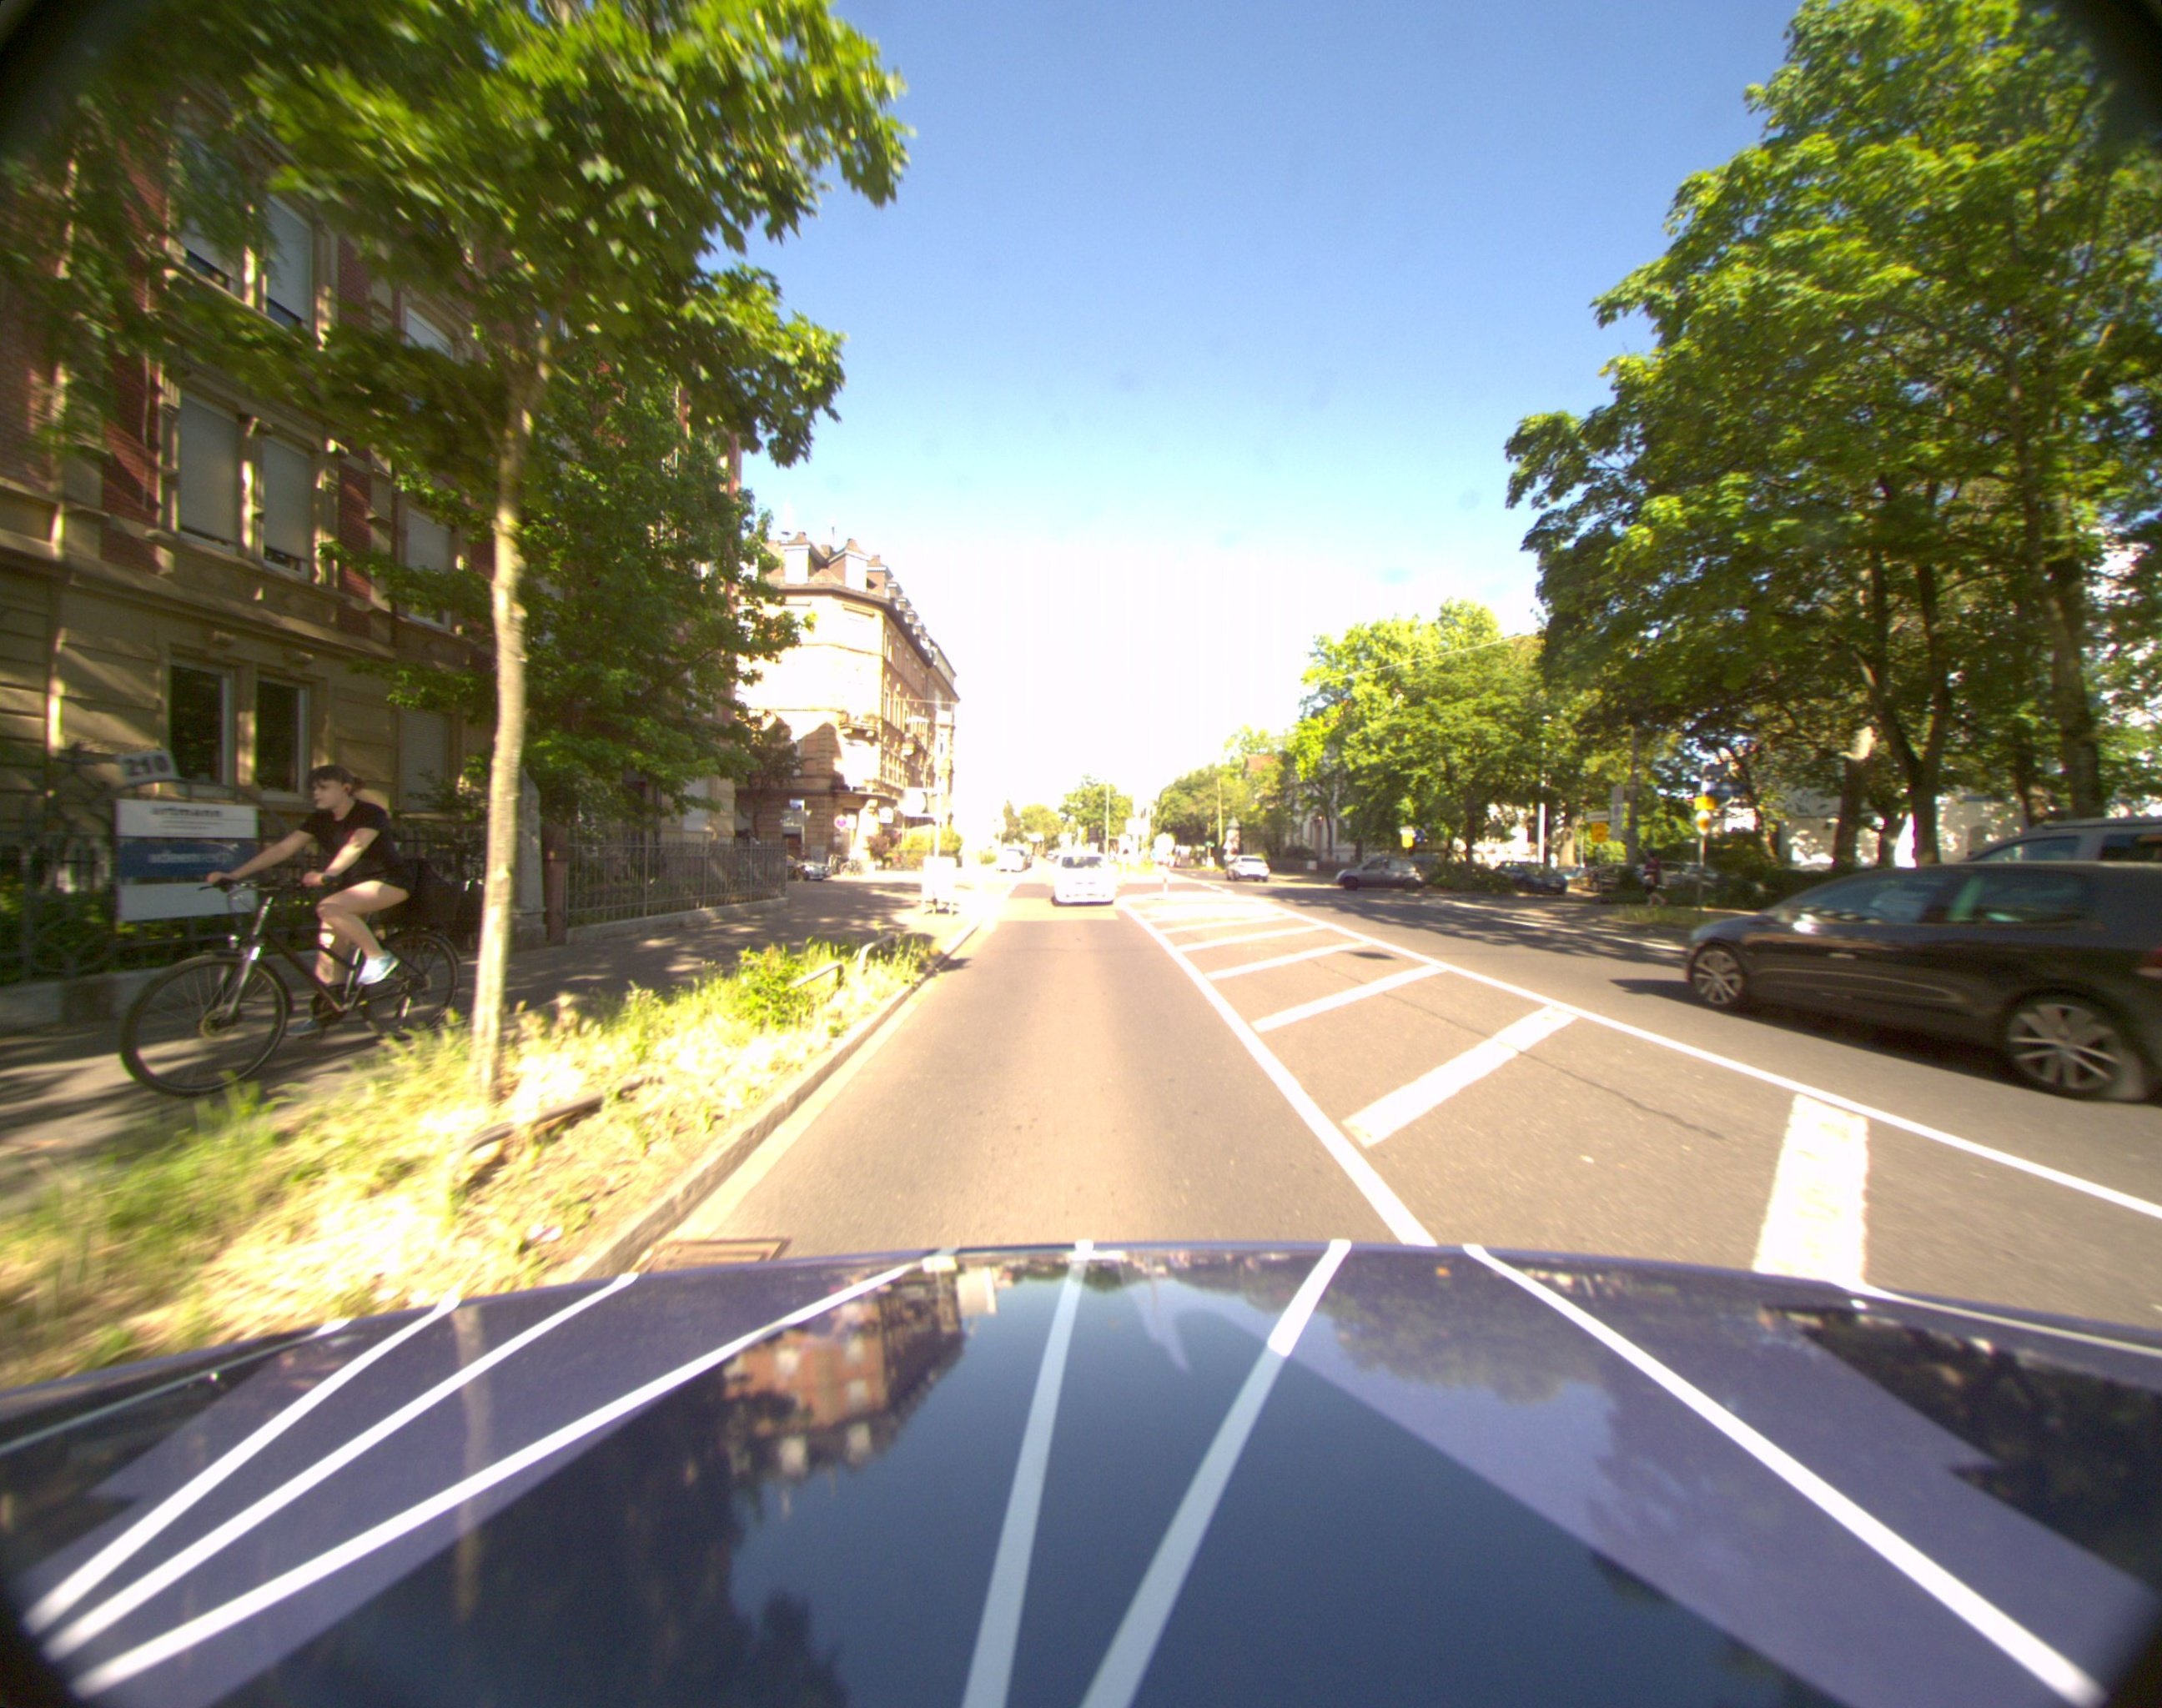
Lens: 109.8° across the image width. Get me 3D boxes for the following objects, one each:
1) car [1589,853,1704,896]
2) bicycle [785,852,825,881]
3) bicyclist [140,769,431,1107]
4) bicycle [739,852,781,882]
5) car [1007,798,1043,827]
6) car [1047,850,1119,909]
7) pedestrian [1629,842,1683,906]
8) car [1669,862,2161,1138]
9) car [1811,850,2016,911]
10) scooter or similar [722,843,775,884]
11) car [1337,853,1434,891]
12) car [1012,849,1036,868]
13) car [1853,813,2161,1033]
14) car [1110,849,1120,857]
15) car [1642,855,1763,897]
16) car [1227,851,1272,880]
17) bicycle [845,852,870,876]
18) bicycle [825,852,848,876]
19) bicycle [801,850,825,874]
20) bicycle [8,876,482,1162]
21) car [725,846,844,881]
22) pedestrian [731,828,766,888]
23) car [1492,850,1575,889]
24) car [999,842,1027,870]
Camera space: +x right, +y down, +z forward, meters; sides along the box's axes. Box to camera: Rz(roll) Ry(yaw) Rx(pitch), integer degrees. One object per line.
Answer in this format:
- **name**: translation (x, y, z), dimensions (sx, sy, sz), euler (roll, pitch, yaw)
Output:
- **car**: translation (25.638, 0.870, 34.678), dimensions (1.893, 1.679, 4.699), euler (1, 2, 3)
- **bicycle**: translation (-11.131, 0.496, 30.590), dimensions (2.013, 1.127, 0.586), euler (-1, -2, 40)
- **bicyclist**: translation (-4.417, 0.428, 4.301), dimensions (0.647, 1.685, 0.889), euler (3, 1, -3)
- **bicycle**: translation (-12.715, 0.509, 30.131), dimensions (0.584, 1.128, 2.020), euler (1, 0, 7)
- **car**: translation (-3.288, -2.449, 45.227), dimensions (1.847, 1.432, 4.105), euler (3, 0, -2)
- **car**: translation (-0.029, 0.661, 21.841), dimensions (1.653, 1.449, 3.894), euler (-2, 1, -5)
- **pedestrian**: translation (16.148, 0.545, 21.367), dimensions (0.872, 1.745, 0.819), euler (-1, 1, -8)
- **car**: translation (6.827, 0.836, 5.776), dimensions (1.596, 1.441, 4.133), euler (1, 1, 2)
- **car**: translation (25.733, 0.723, 23.792), dimensions (1.891, 1.679, 4.703), euler (1, 1, 12)
- **scooter or similar**: translation (-10.541, 0.286, 24.148), dimensions (0.759, 1.256, 1.411), euler (3, 2, 18)
- **car**: translation (13.246, 0.734, 33.134), dimensions (3.771, 1.482, 1.847), euler (1, 1, 22)
- **car**: translation (-5.429, 0.395, 72.892), dimensions (1.893, 1.679, 4.699), euler (0, 1, 1)
- **car**: translation (10.962, 0.673, 7.278), dimensions (1.989, 2.024, 4.874), euler (2, 1, -2)
- **car**: translation (6.318, -0.140, 141.840), dimensions (1.594, 1.420, 3.715), euler (1, 1, -2)
- **car**: translation (28.174, 0.935, 34.674), dimensions (1.892, 1.679, 4.701), euler (1, 1, 5)
- **car**: translation (9.287, 0.612, 42.275), dimensions (1.808, 1.485, 4.714), euler (0, 1, 4)
- **bicycle**: translation (-11.406, 0.503, 38.796), dimensions (0.735, 1.128, 2.017), euler (0, 3, -3)
- **bicycle**: translation (-12.360, 0.470, 38.497), dimensions (0.585, 1.128, 2.018), euler (1, 2, -3)
- **bicycle**: translation (-13.539, 0.387, 38.442), dimensions (0.585, 1.128, 2.017), euler (1, 2, -3)
- **bicycle**: translation (-4.439, 0.766, 4.297), dimensions (0.654, 1.170, 1.842), euler (4, 1, -3)
- **car**: translation (-13.034, 0.392, 33.593), dimensions (4.416, 1.409, 2.047), euler (1, 1, 3)
- **pedestrian**: translation (-10.683, 0.114, 24.428), dimensions (0.765, 1.882, 0.694), euler (2, 3, 18)
- **car**: translation (20.990, 0.655, 35.493), dimensions (1.891, 1.679, 4.703), euler (1, 1, 12)
- **car**: translation (-4.851, 0.117, 54.527), dimensions (1.694, 1.862, 3.560), euler (1, 1, -2)
